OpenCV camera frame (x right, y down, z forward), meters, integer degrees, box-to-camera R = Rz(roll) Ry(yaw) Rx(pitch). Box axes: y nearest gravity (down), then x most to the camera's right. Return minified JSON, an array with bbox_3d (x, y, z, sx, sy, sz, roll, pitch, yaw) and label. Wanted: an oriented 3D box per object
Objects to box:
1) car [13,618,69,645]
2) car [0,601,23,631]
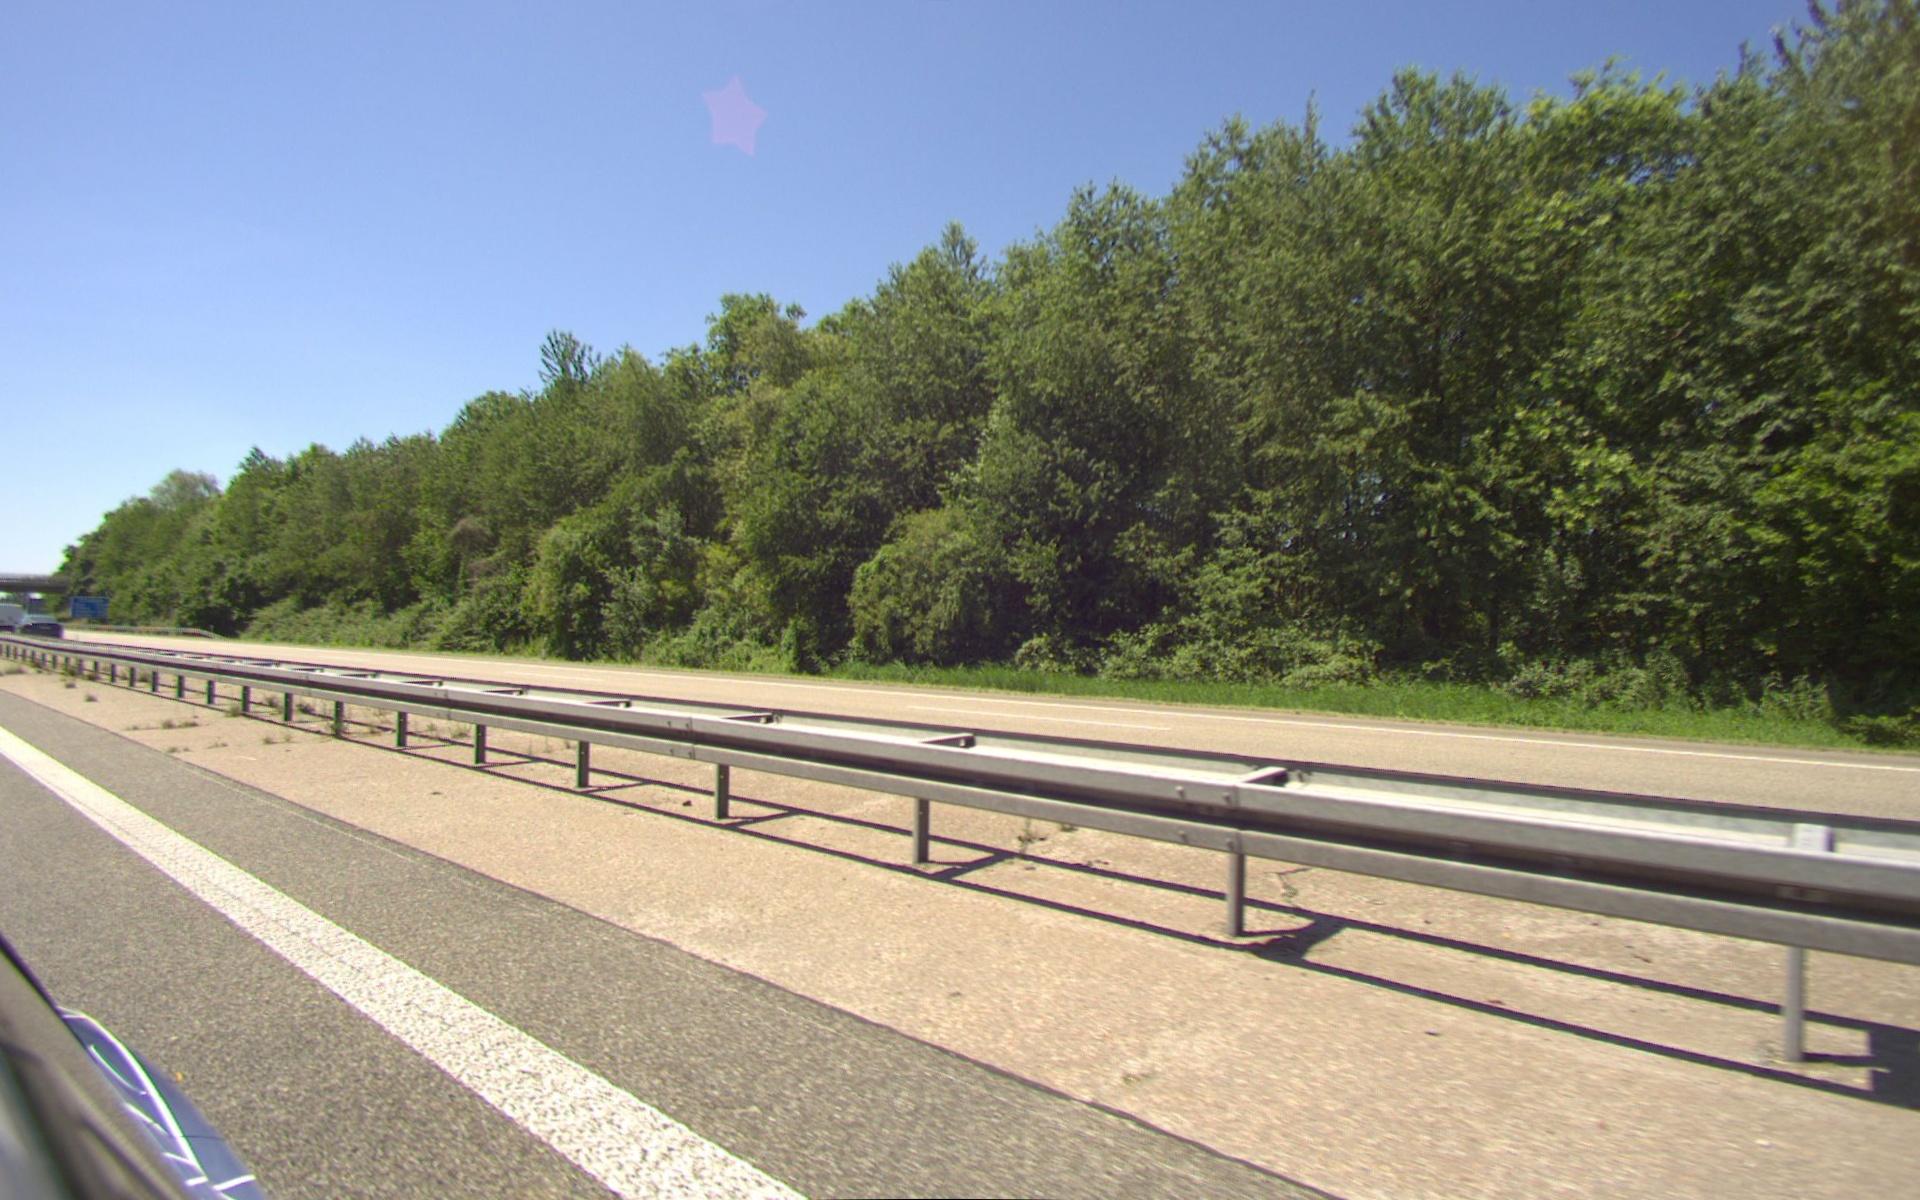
[{"bbox_3d":[-52.872,1.781,58.198,4.564,1.492,1.787,-1,-2,40],"label":"car"},{"bbox_3d":[-76.337,1.290,80.436,5.273,2.306,2.066,-1,-2,40],"label":"car"}]
